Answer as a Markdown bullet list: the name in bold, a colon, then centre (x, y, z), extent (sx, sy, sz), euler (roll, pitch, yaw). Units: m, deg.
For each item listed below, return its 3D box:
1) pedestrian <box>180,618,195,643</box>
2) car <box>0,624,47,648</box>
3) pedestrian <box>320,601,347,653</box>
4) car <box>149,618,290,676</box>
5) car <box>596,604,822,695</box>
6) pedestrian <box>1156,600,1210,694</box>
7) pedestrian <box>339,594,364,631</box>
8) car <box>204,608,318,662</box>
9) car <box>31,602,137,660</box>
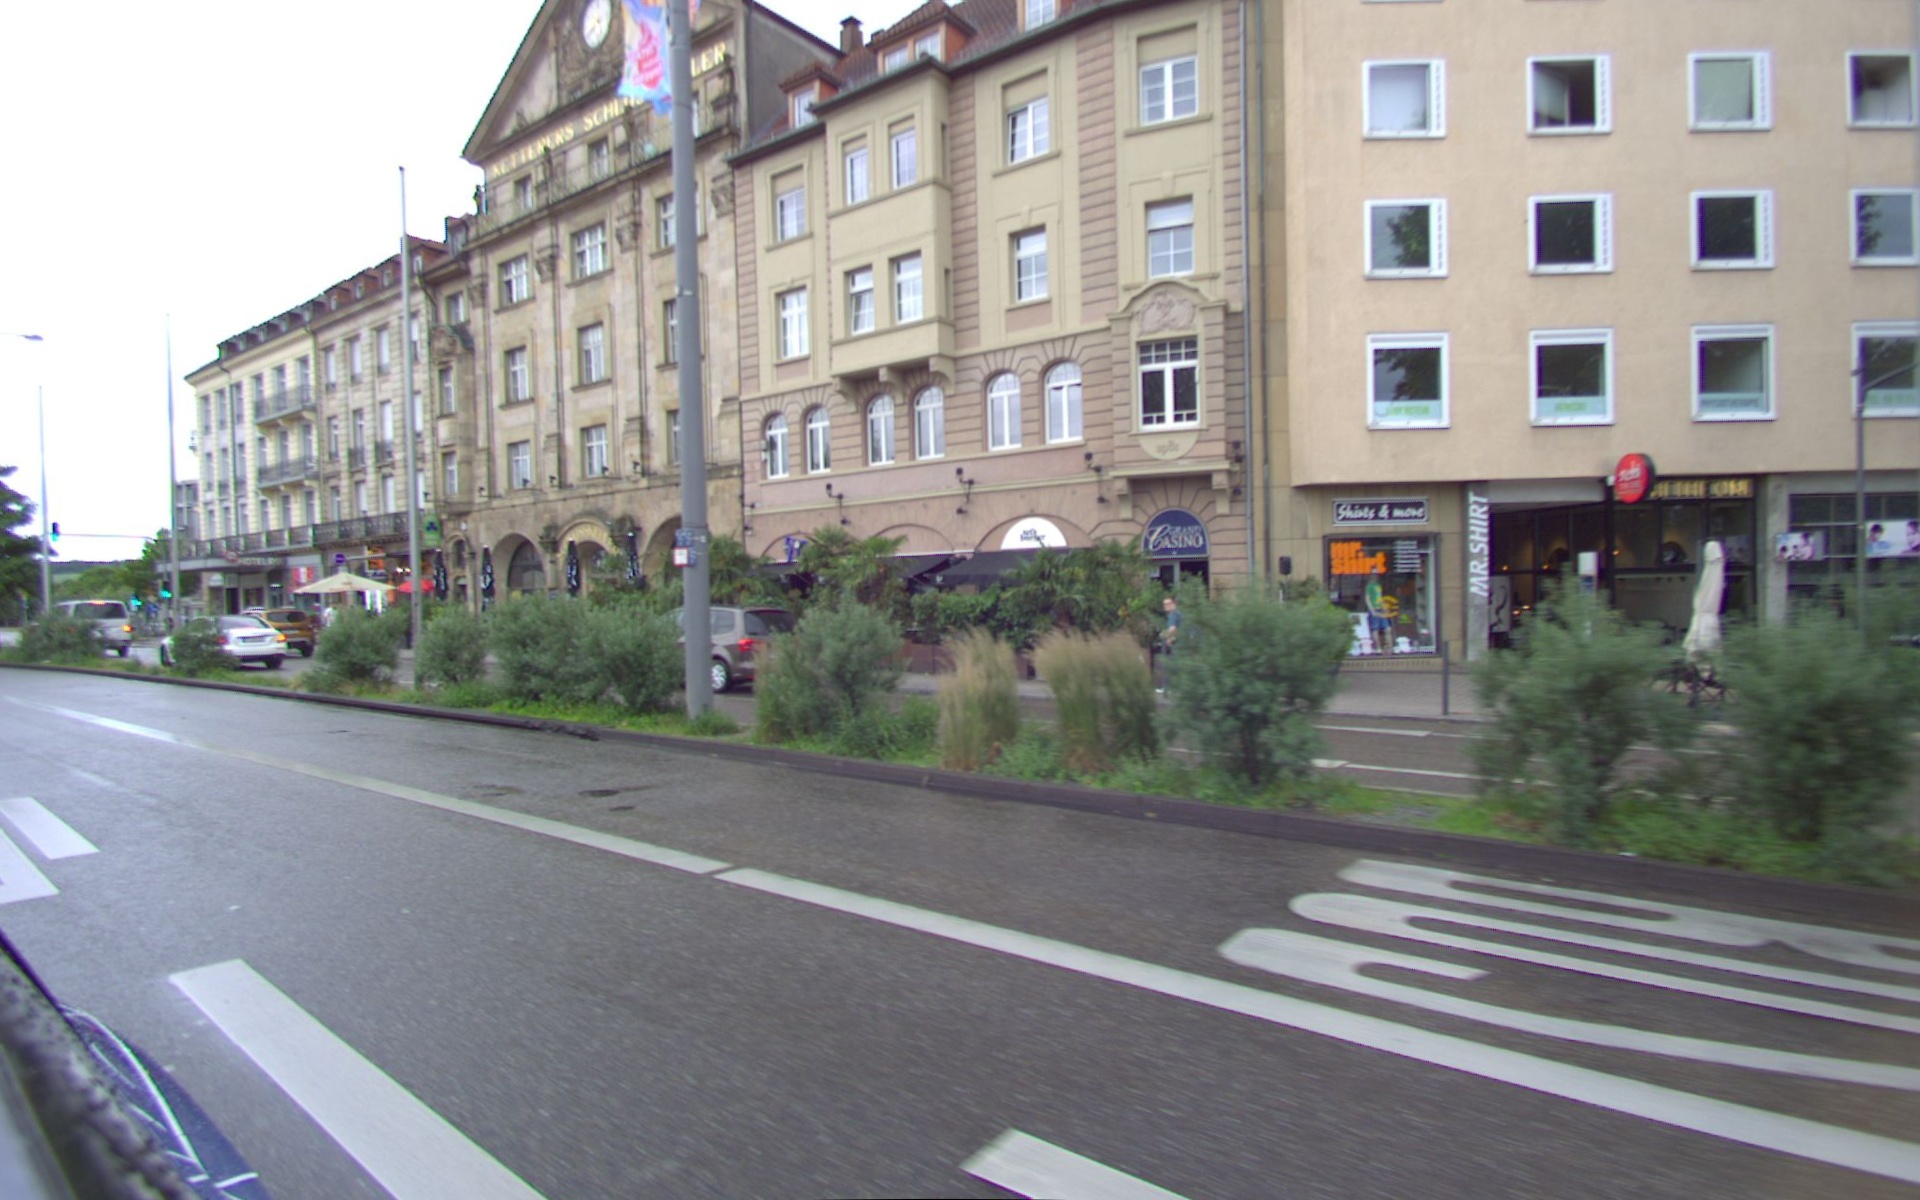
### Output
- **pedestrian**: centre (-46.026, 1.815, 60.320), extent (0.633, 1.499, 0.748), euler (-2, 0, -33)
- **car**: centre (-59.263, 2.257, 63.993), extent (3.910, 1.456, 1.661), euler (-1, 0, 38)
- **pedestrian**: centre (-23.515, 1.017, 37.989), extent (0.765, 1.924, 0.670), euler (-1, -1, 39)
- **car**: centre (-20.221, 1.222, 27.560), extent (4.977, 1.417, 1.774), euler (-1, -1, 37)
- **car**: centre (-5.019, 0.901, 19.906), extent (4.732, 1.591, 1.774), euler (-1, -1, 37)
- **pedestrian**: centre (3.781, 0.783, 17.129), extent (0.724, 1.541, 0.685), euler (-1, -1, 28)
- **pedestrian**: centre (-28.261, 0.577, 46.997), extent (0.677, 1.683, 0.757), euler (0, 0, 33)
- **car**: centre (-23.472, 1.136, 33.948), extent (4.094, 1.693, 1.975), euler (-1, -1, 37)
- **car**: centre (-32.010, 1.104, 36.948), extent (4.846, 1.989, 1.904), euler (-1, -1, 36)
